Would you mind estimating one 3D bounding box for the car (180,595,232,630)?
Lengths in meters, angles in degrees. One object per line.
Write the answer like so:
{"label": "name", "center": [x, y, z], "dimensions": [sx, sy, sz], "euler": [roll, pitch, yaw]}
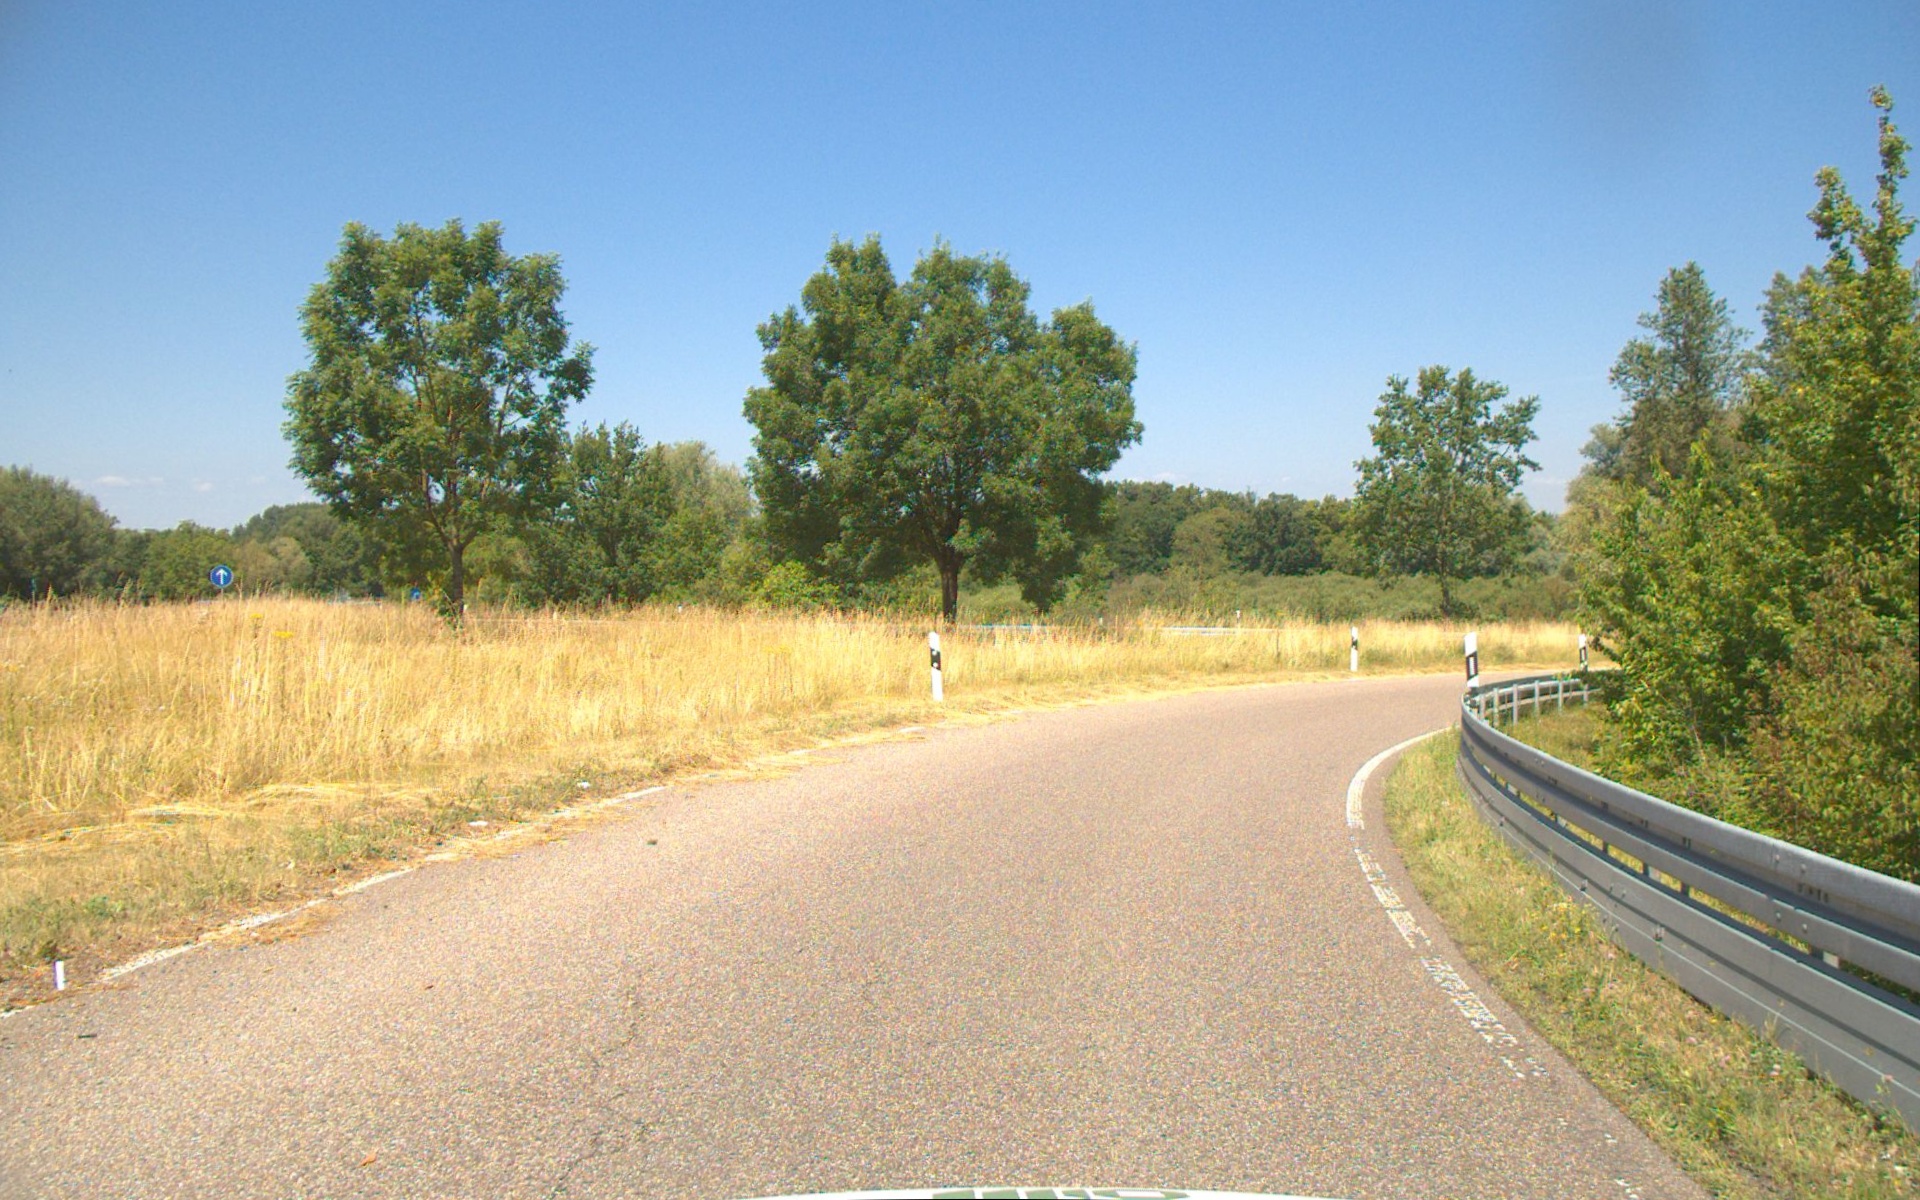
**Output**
{"label": "car", "center": [-38.462, 0.640, 84.478], "dimensions": [2.005, 1.702, 3.977], "euler": [1, 0, -19]}
